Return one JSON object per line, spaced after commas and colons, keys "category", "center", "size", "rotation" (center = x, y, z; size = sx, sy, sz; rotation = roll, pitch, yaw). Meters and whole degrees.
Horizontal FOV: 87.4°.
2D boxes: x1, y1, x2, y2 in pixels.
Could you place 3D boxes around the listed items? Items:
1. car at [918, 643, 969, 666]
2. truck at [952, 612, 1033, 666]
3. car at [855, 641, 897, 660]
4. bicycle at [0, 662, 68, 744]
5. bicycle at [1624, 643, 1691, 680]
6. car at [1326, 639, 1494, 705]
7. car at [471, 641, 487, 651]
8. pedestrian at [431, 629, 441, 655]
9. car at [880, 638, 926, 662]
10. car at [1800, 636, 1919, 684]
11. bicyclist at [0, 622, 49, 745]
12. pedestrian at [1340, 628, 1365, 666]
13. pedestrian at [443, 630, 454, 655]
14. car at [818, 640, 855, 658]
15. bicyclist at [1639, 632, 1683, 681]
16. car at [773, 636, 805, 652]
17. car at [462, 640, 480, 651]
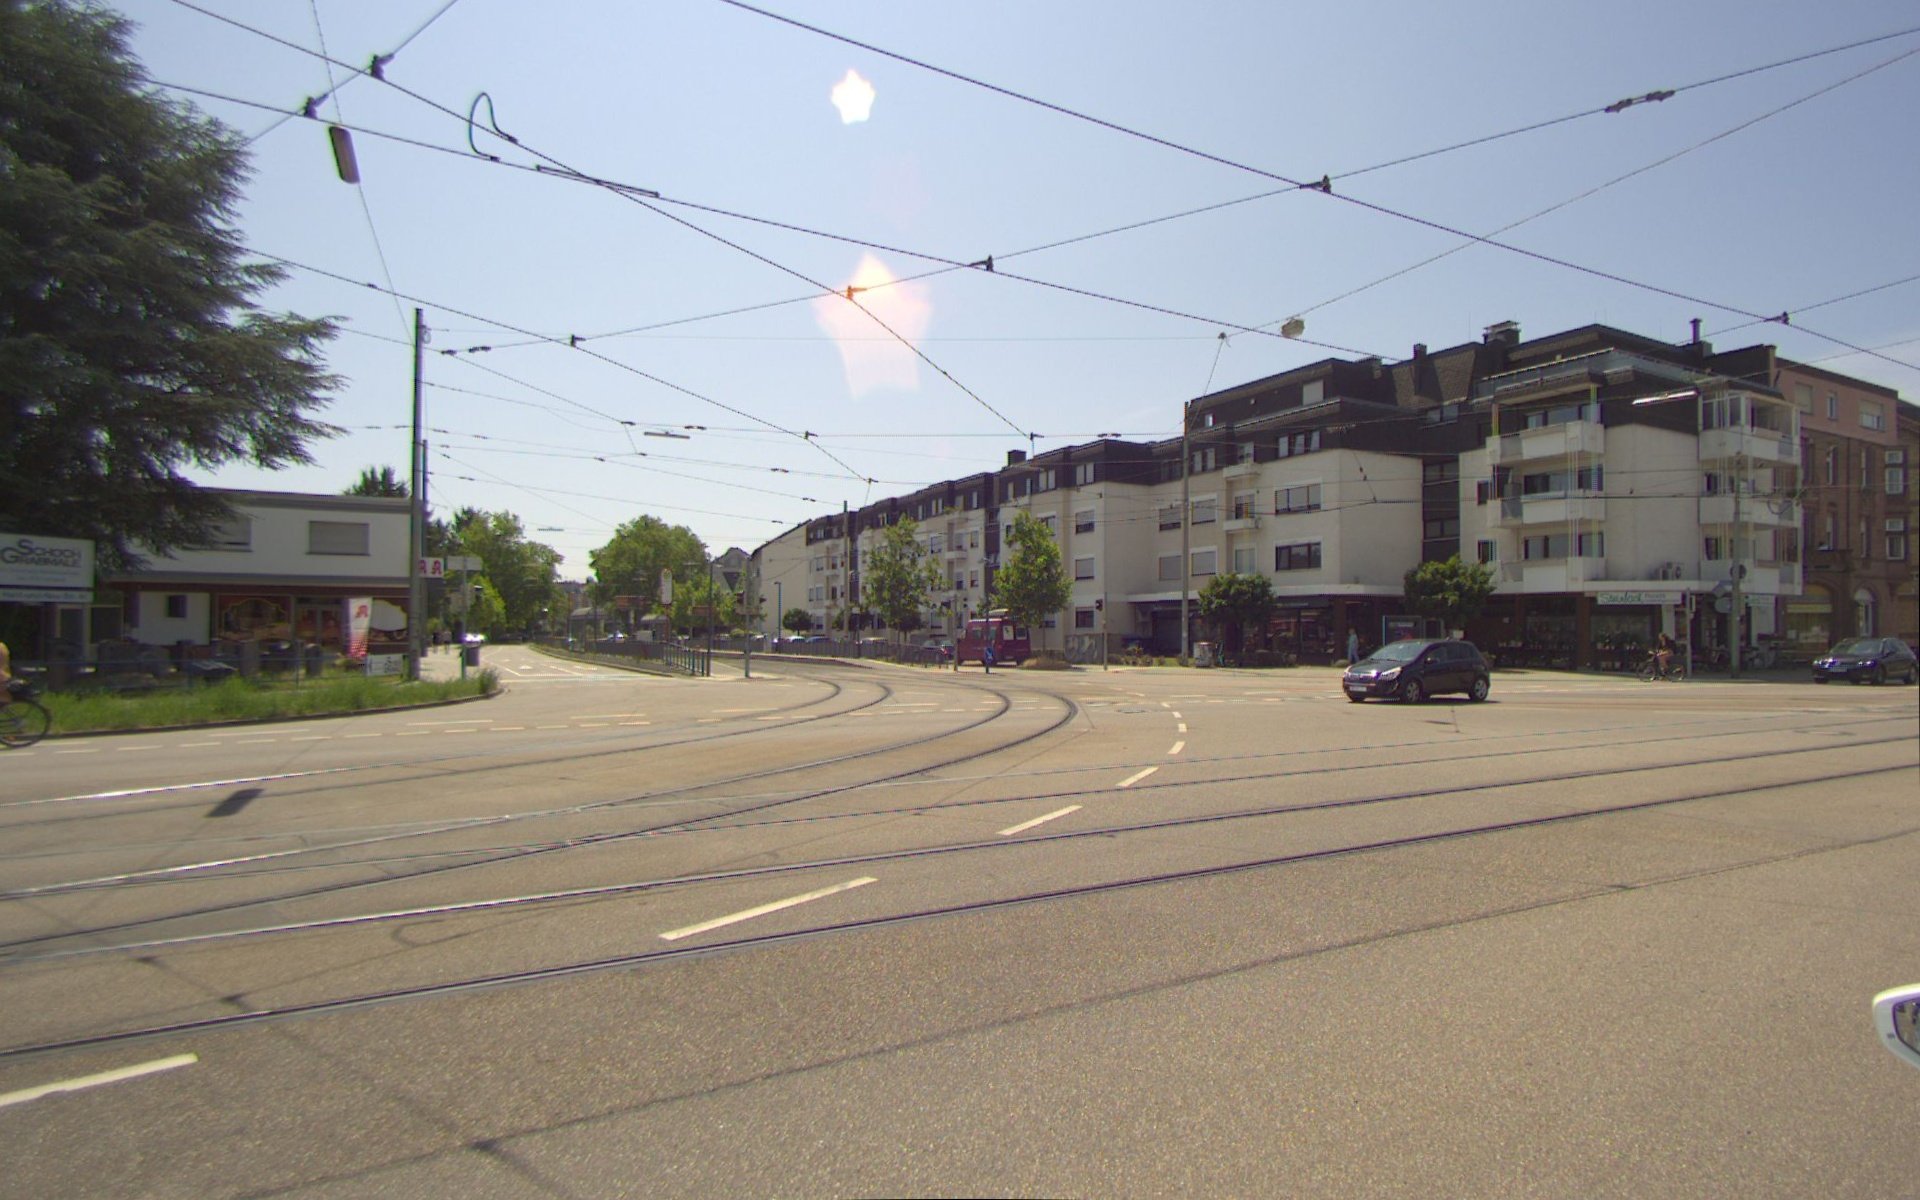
{"category": "car", "center": [-1.009, 3.164, 58.650], "size": [1.570, 1.235, 3.556], "rotation": [1, -2, -28]}
{"category": "truck", "center": [1.661, 2.079, 53.553], "size": [2.160, 2.734, 5.007], "rotation": [1, -2, -28]}
{"category": "car", "center": [-5.696, 3.361, 67.582], "size": [1.570, 1.256, 3.556], "rotation": [1, -2, -28]}
{"category": "bicycle", "center": [-14.505, 1.528, 14.809], "size": [1.908, 1.164, 0.691], "rotation": [0, -2, -30]}
{"category": "bicycle", "center": [25.656, 2.257, 36.956], "size": [2.065, 1.322, 0.678], "rotation": [0, -2, -6]}
{"category": "car", "center": [10.806, 1.671, 24.082], "size": [3.817, 1.457, 1.703], "rotation": [1, -2, -28]}
{"category": "car", "center": [-59.535, 5.661, 124.240], "size": [1.579, 1.243, 3.274], "rotation": [1, -2, -29]}
{"category": "pedestrian", "center": [-39.258, 3.168, 75.257], "size": [0.671, 1.927, 0.644], "rotation": [1, -2, -29]}
{"category": "car", "center": [-3.564, 3.086, 62.744], "size": [1.570, 1.451, 3.556], "rotation": [1, -2, -28]}
{"category": "car", "center": [32.253, 2.114, 35.935], "size": [4.437, 1.600, 1.788], "rotation": [1, -2, -27]}
{"category": "bicyclist", "center": [-14.368, 1.232, 14.893], "size": [1.124, 1.789, 0.691], "rotation": [0, -1, -30]}
{"category": "pedestrian", "center": [17.893, 2.131, 45.818], "size": [0.794, 1.719, 0.700], "rotation": [1, -2, -12]}
{"category": "pedestrian", "center": [-38.544, 3.192, 75.656], "size": [0.671, 1.927, 0.644], "rotation": [1, -2, -29]}
{"category": "car", "center": [-9.011, 3.540, 73.238], "size": [1.570, 1.256, 3.556], "rotation": [1, -2, -28]}
{"category": "bicyclist", "center": [25.787, 2.057, 36.958], "size": [1.113, 1.785, 0.734], "rotation": [0, -2, -6]}
{"category": "car", "center": [-13.919, 3.565, 81.806], "size": [1.570, 1.256, 3.556], "rotation": [1, -2, -28]}
{"category": "car", "center": [-53.940, 5.015, 110.778], "size": [1.579, 1.243, 3.274], "rotation": [1, -2, -29]}
